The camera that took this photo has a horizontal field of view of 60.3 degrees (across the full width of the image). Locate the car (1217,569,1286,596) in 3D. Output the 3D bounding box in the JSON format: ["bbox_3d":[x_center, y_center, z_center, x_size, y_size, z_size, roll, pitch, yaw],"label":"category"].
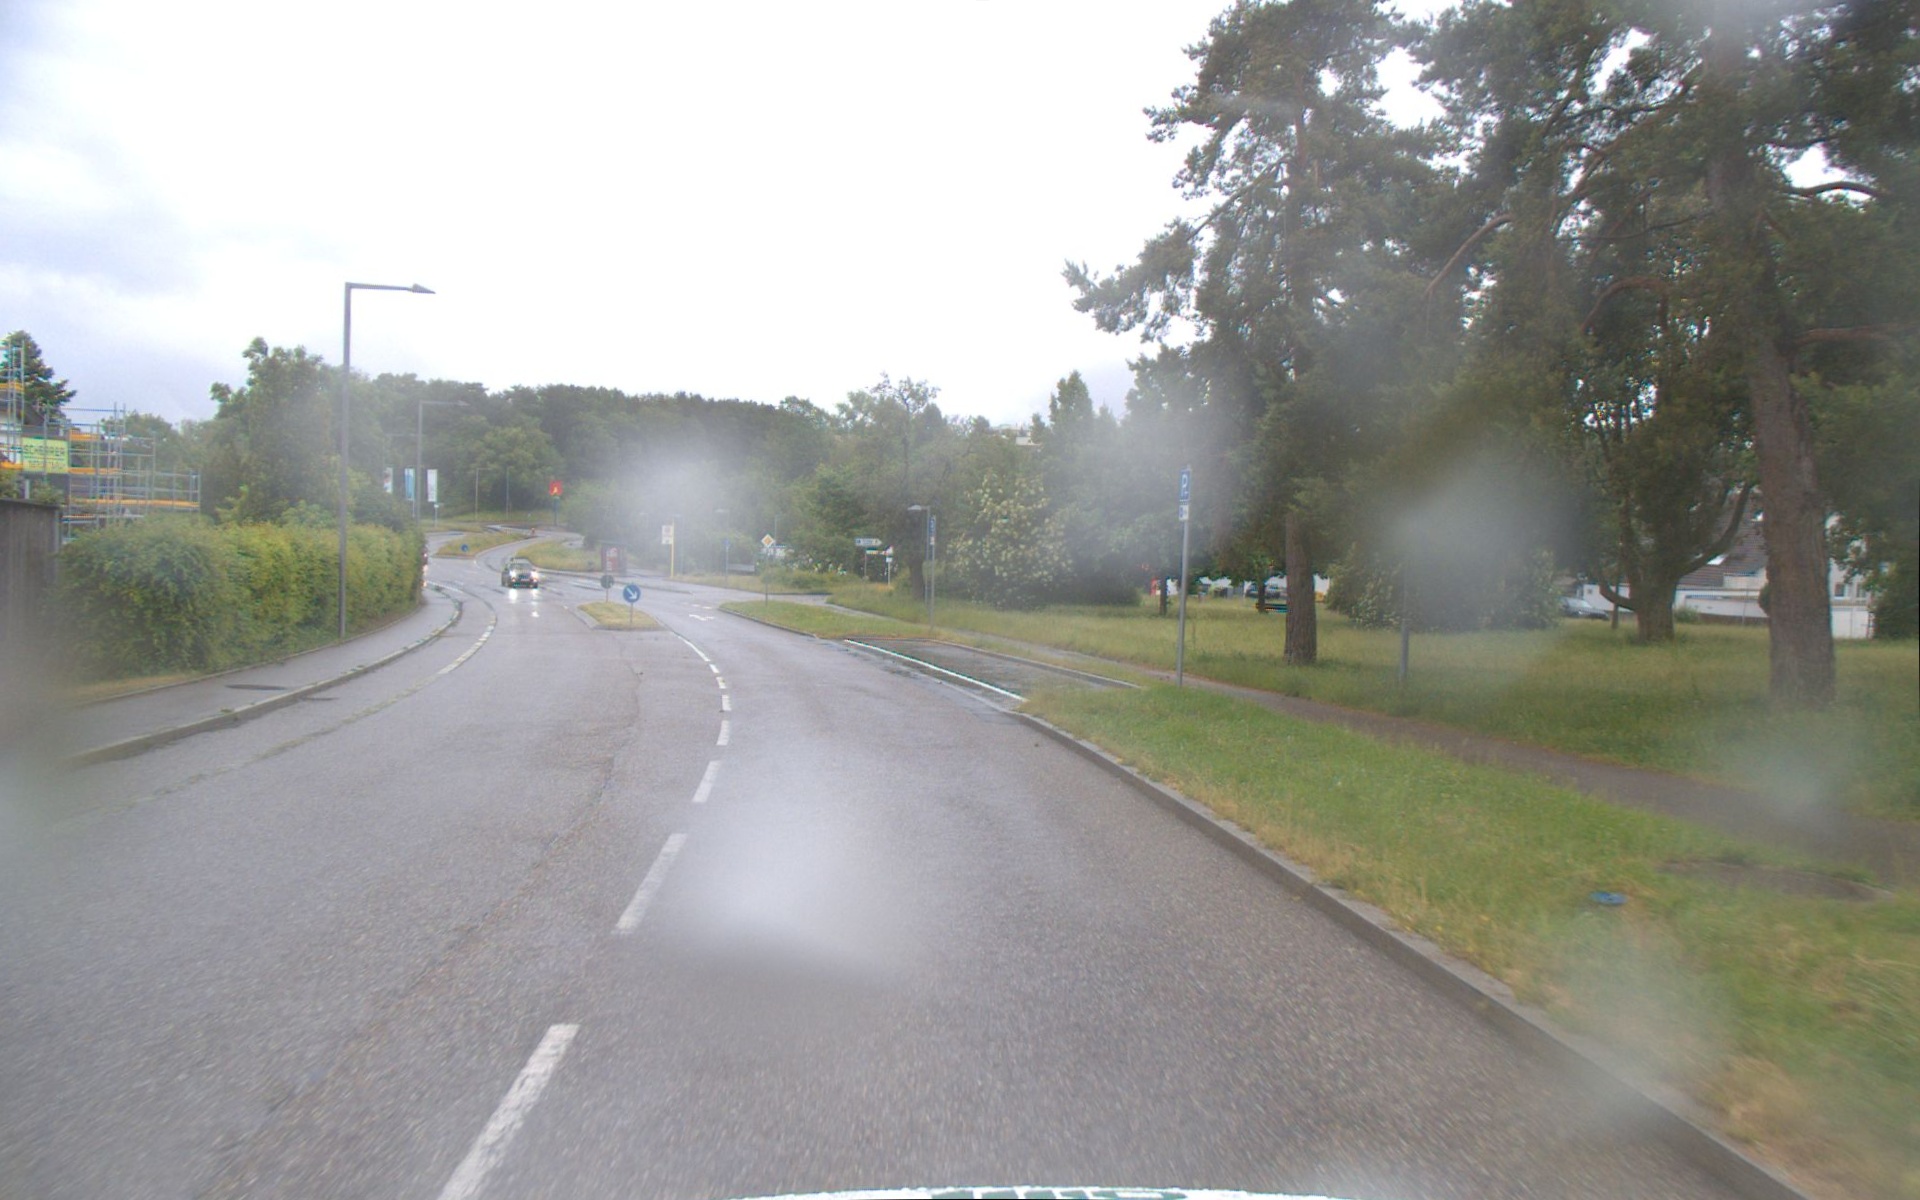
[{"bbox_3d":[20.492,-1.244,116.349,4.474,1.780,1.902,-1,0,41],"label":"car"}]

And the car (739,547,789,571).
[{"bbox_3d":[-15.190,-3.146,128.141,3.346,1.720,1.997,0,-2,27],"label":"car"}]

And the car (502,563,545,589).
[{"bbox_3d":[-25.934,-1.429,98.113,1.441,1.379,3.495,3,1,-32],"label":"car"}]
